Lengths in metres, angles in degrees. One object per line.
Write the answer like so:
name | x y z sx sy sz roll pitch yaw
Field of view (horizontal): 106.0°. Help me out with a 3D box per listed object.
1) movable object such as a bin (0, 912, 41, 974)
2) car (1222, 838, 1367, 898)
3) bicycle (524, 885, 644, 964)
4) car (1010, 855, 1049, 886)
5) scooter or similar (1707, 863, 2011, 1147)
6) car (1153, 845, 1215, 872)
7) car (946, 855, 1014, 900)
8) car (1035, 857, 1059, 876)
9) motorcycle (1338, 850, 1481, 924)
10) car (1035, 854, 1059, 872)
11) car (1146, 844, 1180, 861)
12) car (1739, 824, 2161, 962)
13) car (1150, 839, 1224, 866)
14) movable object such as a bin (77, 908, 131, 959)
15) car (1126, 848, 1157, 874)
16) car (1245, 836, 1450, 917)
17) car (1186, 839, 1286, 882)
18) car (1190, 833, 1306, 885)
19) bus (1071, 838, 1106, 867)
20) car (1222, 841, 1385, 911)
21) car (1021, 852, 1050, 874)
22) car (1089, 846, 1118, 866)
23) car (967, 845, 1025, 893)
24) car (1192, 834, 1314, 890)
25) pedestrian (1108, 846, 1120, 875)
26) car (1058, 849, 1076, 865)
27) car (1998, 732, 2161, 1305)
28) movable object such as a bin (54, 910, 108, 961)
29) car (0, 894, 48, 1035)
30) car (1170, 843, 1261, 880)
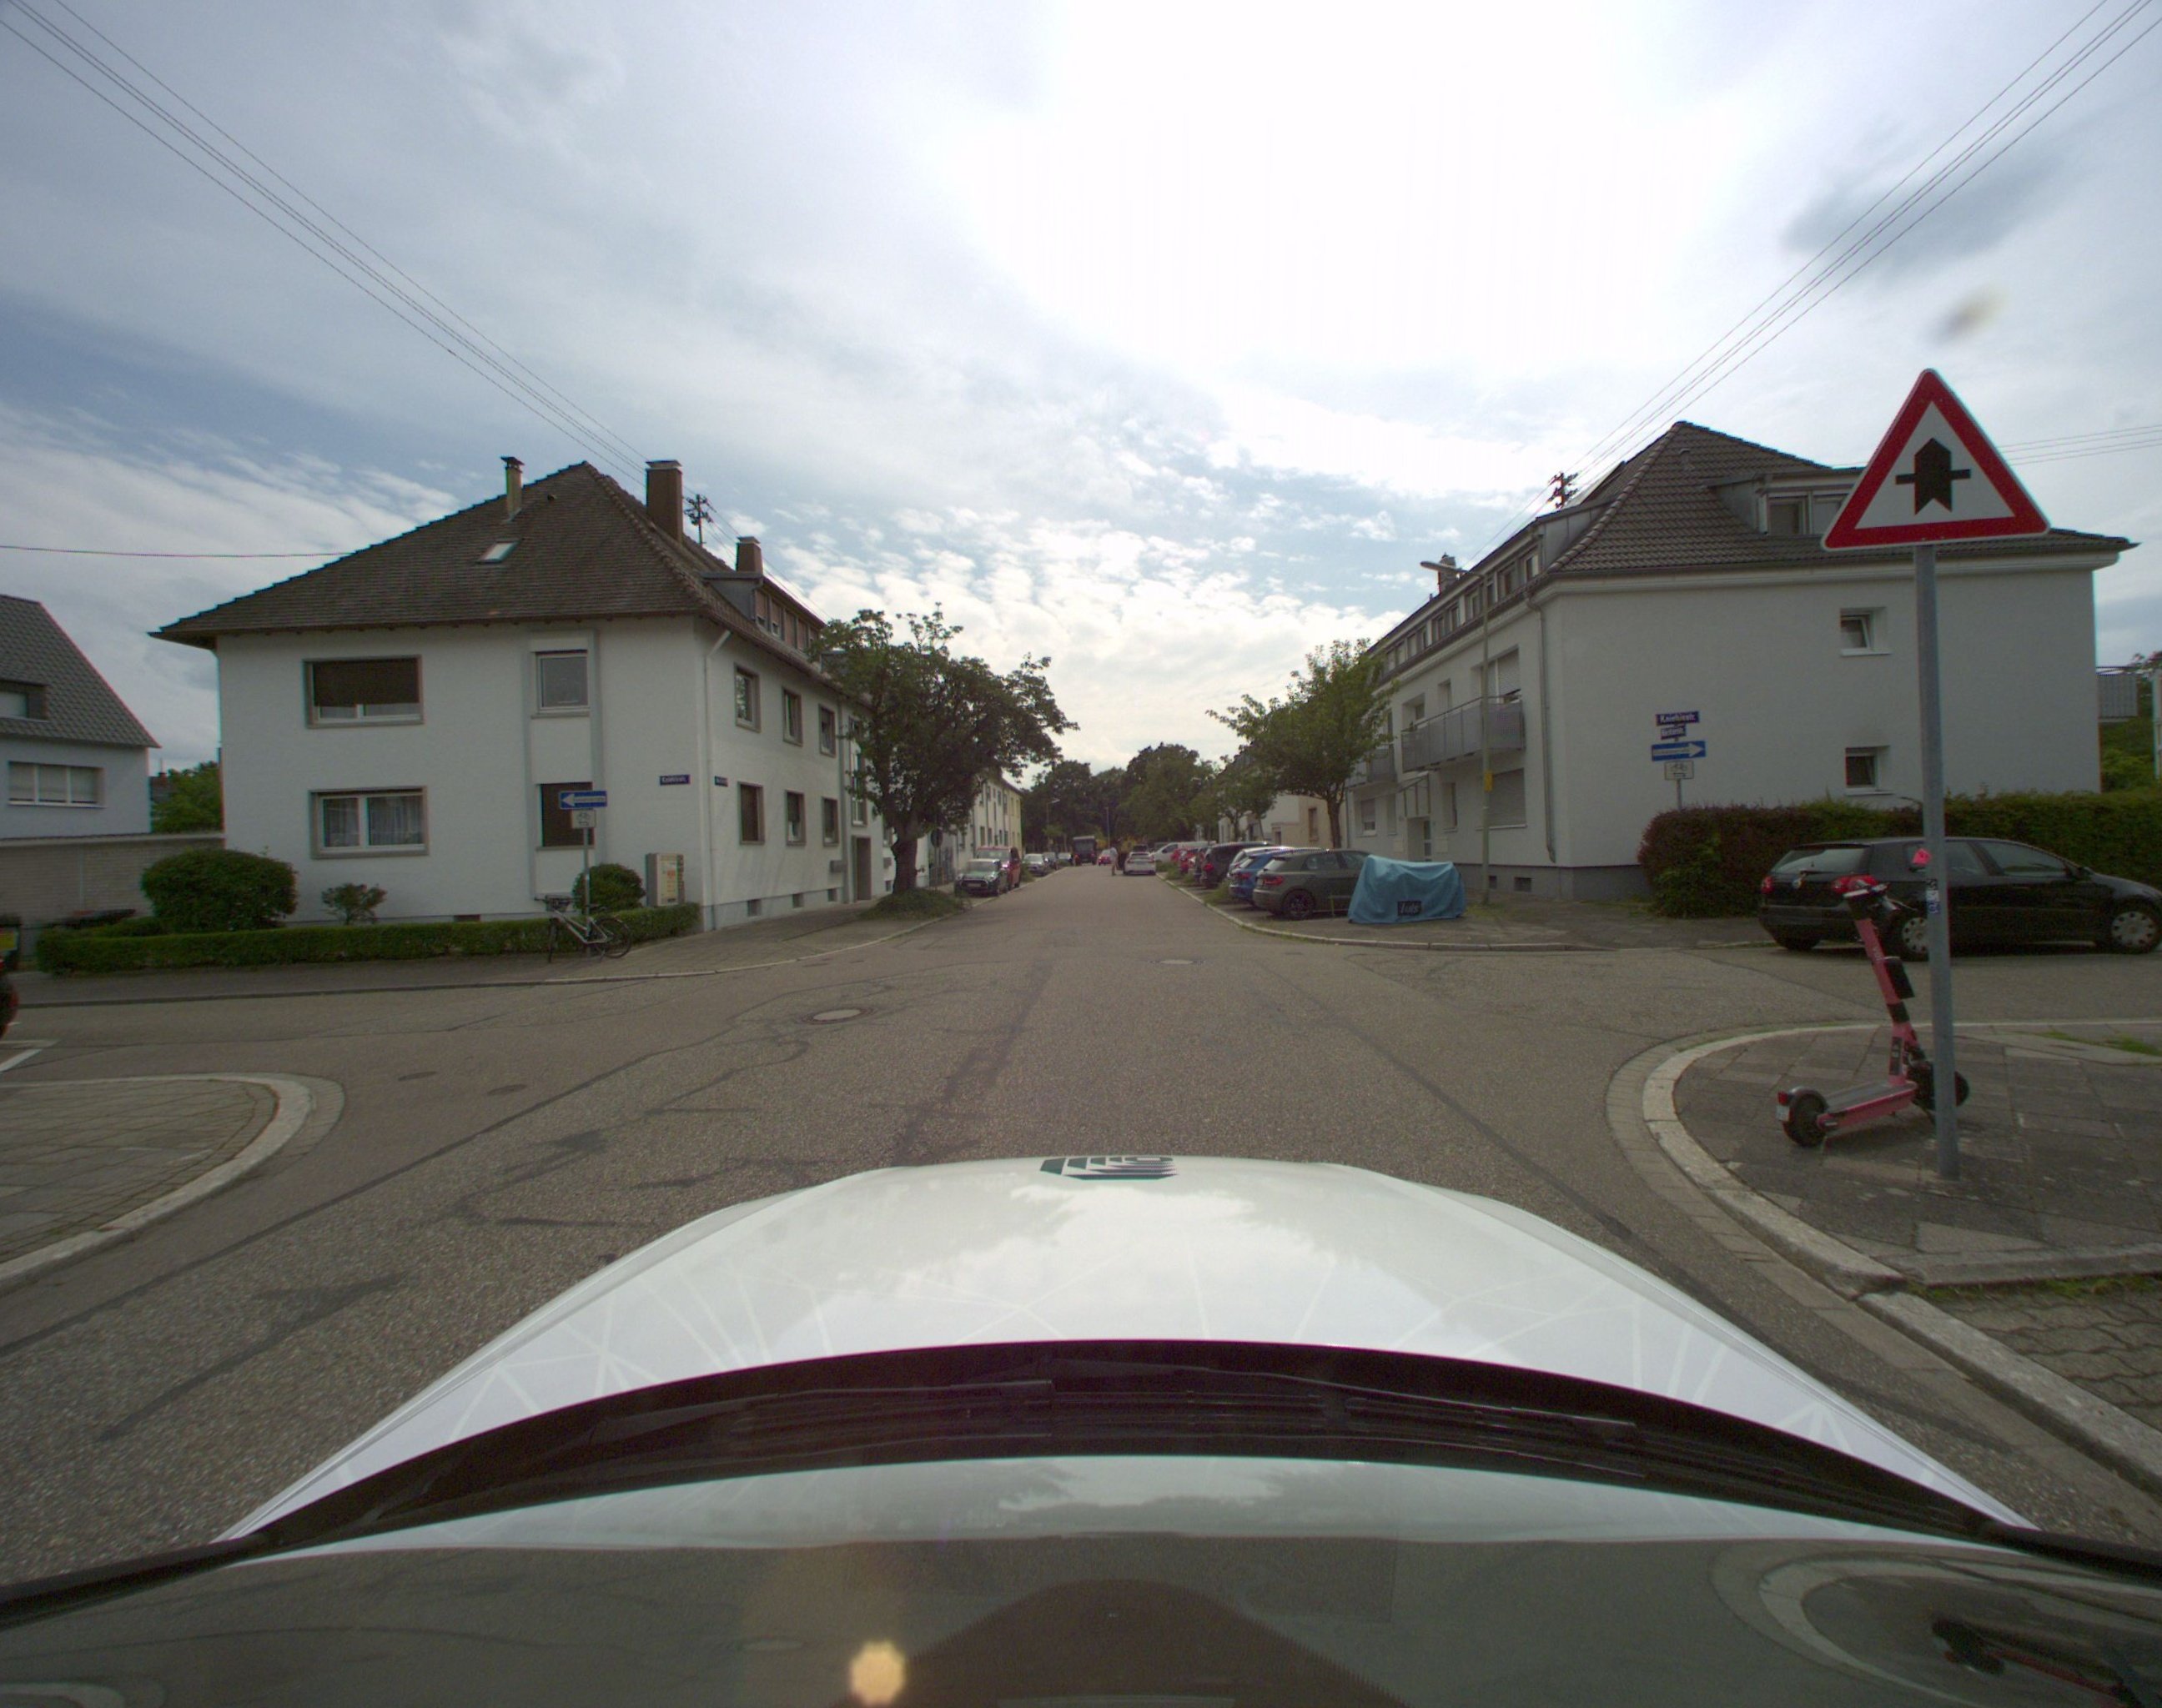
movable object such as a bin | -20.777 1.721 15.661 0.749 1.137 0.582 -4 0 3
car | 6.510 0.407 25.164 3.972 1.518 1.723 -4 0 2
bicycle | -8.298 1.168 13.628 1.629 1.179 0.435 -4 0 -2
car | -2.755 0.845 43.919 1.645 1.461 3.554 -4 0 2
scooter or similar | 3.934 0.708 4.135 1.239 1.243 0.420 -4 0 -11
car | 6.961 0.317 55.189 3.972 1.518 1.723 -4 0 2
car | -3.927 0.880 32.286 1.754 1.554 3.737 -4 0 6
car | -2.529 0.899 60.529 1.534 1.301 3.721 -4 0 0
motorcycle | 5.897 0.579 14.713 2.186 1.210 0.940 -2 0 0
car | -2.877 0.762 69.105 1.645 1.377 3.723 -4 0 2
car | 8.784 -0.143 87.315 3.515 1.602 1.775 -4 0 3
car | 10.833 0.442 10.273 3.793 1.443 1.662 -2 0 -3
car | 7.444 -0.120 57.562 4.958 1.518 1.769 -4 0 0
movable object such as a bin | -20.103 1.636 16.756 0.503 0.973 0.455 -4 0 3
car | 3.644 0.400 49.283 1.680 1.354 3.830 -4 0 4
car | 5.533 0.455 17.272 3.732 1.365 1.775 -4 0 3
car | 6.632 0.282 35.219 3.972 1.518 1.723 -4 0 2
car | 6.194 0.190 30.593 3.970 1.618 1.869 -4 0 3
bus | 0.872 -0.207 87.360 2.990 2.761 8.934 -4 0 4
car | 5.340 0.517 19.861 3.503 1.412 1.560 -4 0 2
car | -3.056 0.599 55.479 1.646 1.377 3.721 -4 0 0
car | 2.182 0.158 77.111 1.980 1.618 4.013 -4 0 12
car | -3.832 0.627 37.503 1.986 2.013 4.523 -2 0 2
car | 5.731 0.251 27.519 3.732 1.564 1.775 -4 0 3
pedestrian | 1.969 0.383 48.649 0.519 1.704 0.445 -4 0 6
car | -1.505 0.312 88.350 1.614 1.502 4.004 -4 0 4
car | 5.000 0.421 1.749 3.909 1.633 1.868 -2 0 1
movable object such as a bin | -20.631 1.677 16.802 0.503 0.973 0.455 -4 0 3
car | -12.968 1.273 8.003 3.737 1.422 1.667 -4 0 6
car | 6.330 0.351 38.570 3.972 1.438 1.723 -4 0 2
